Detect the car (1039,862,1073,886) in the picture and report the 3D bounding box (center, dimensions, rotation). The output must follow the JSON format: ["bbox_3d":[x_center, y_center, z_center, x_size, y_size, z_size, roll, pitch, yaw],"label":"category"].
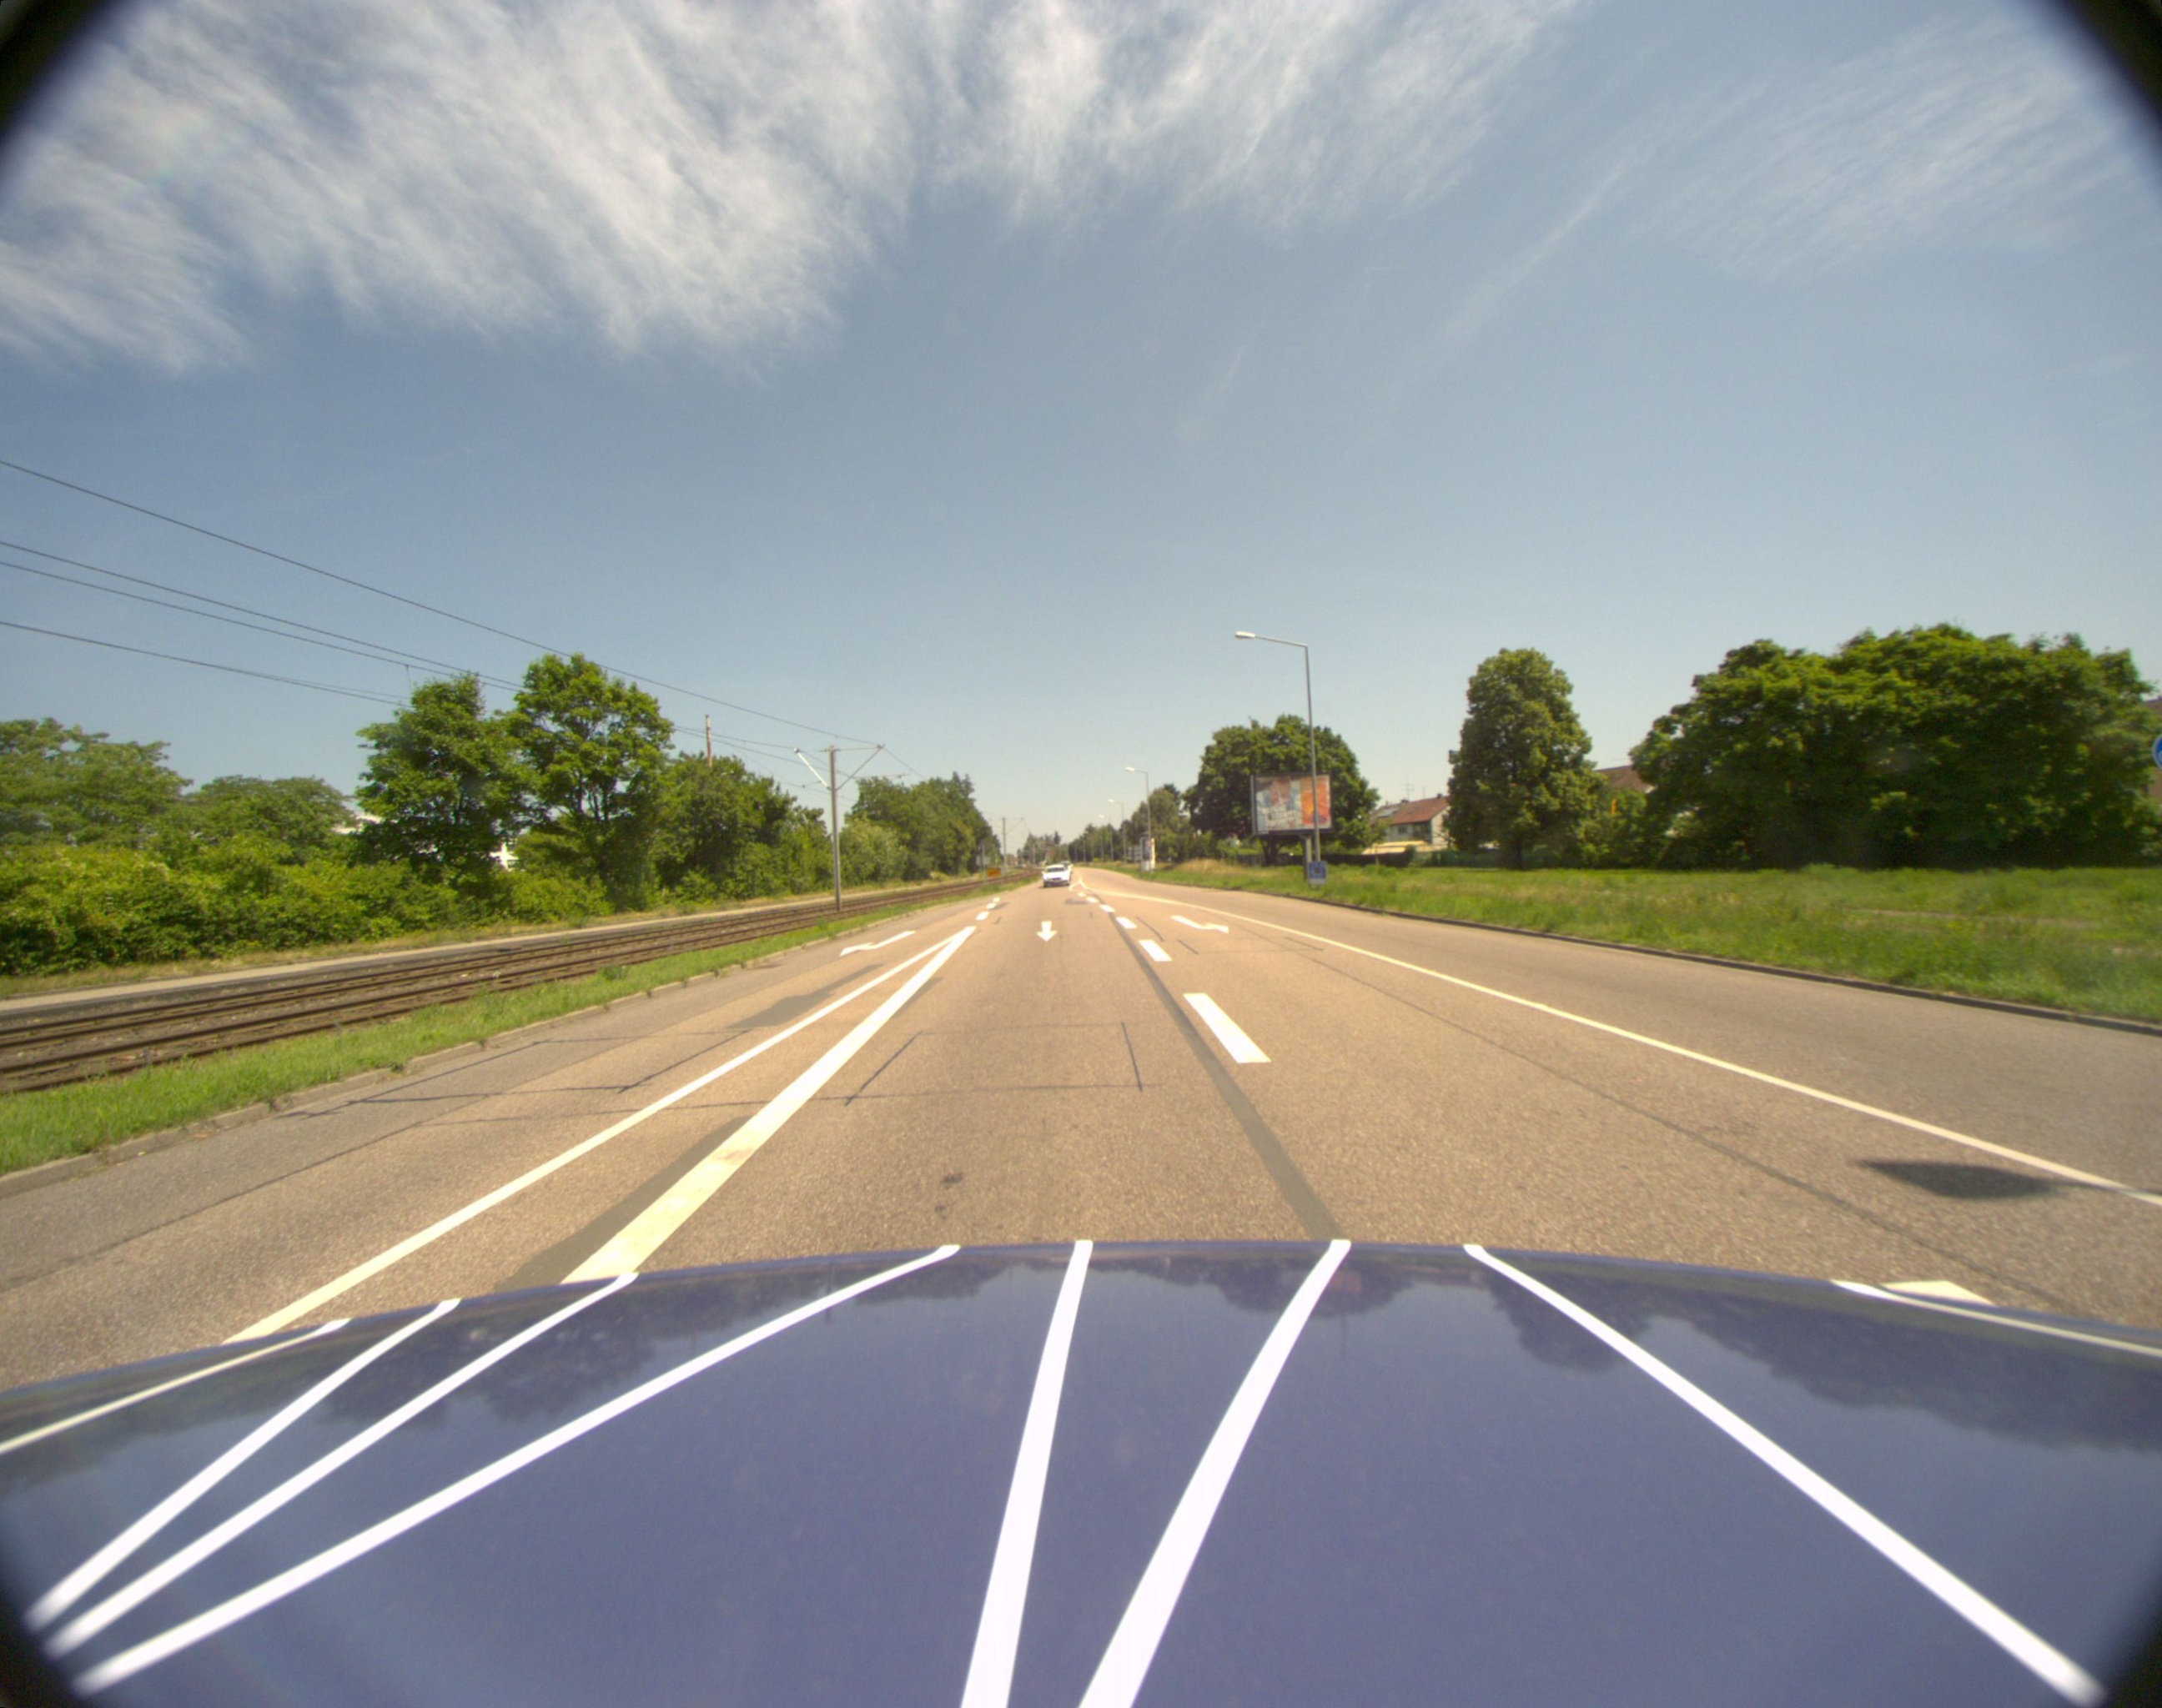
[{"bbox_3d":[-1.710,1.371,52.863,1.954,1.467,4.362,-3,0,3],"label":"car"}]
